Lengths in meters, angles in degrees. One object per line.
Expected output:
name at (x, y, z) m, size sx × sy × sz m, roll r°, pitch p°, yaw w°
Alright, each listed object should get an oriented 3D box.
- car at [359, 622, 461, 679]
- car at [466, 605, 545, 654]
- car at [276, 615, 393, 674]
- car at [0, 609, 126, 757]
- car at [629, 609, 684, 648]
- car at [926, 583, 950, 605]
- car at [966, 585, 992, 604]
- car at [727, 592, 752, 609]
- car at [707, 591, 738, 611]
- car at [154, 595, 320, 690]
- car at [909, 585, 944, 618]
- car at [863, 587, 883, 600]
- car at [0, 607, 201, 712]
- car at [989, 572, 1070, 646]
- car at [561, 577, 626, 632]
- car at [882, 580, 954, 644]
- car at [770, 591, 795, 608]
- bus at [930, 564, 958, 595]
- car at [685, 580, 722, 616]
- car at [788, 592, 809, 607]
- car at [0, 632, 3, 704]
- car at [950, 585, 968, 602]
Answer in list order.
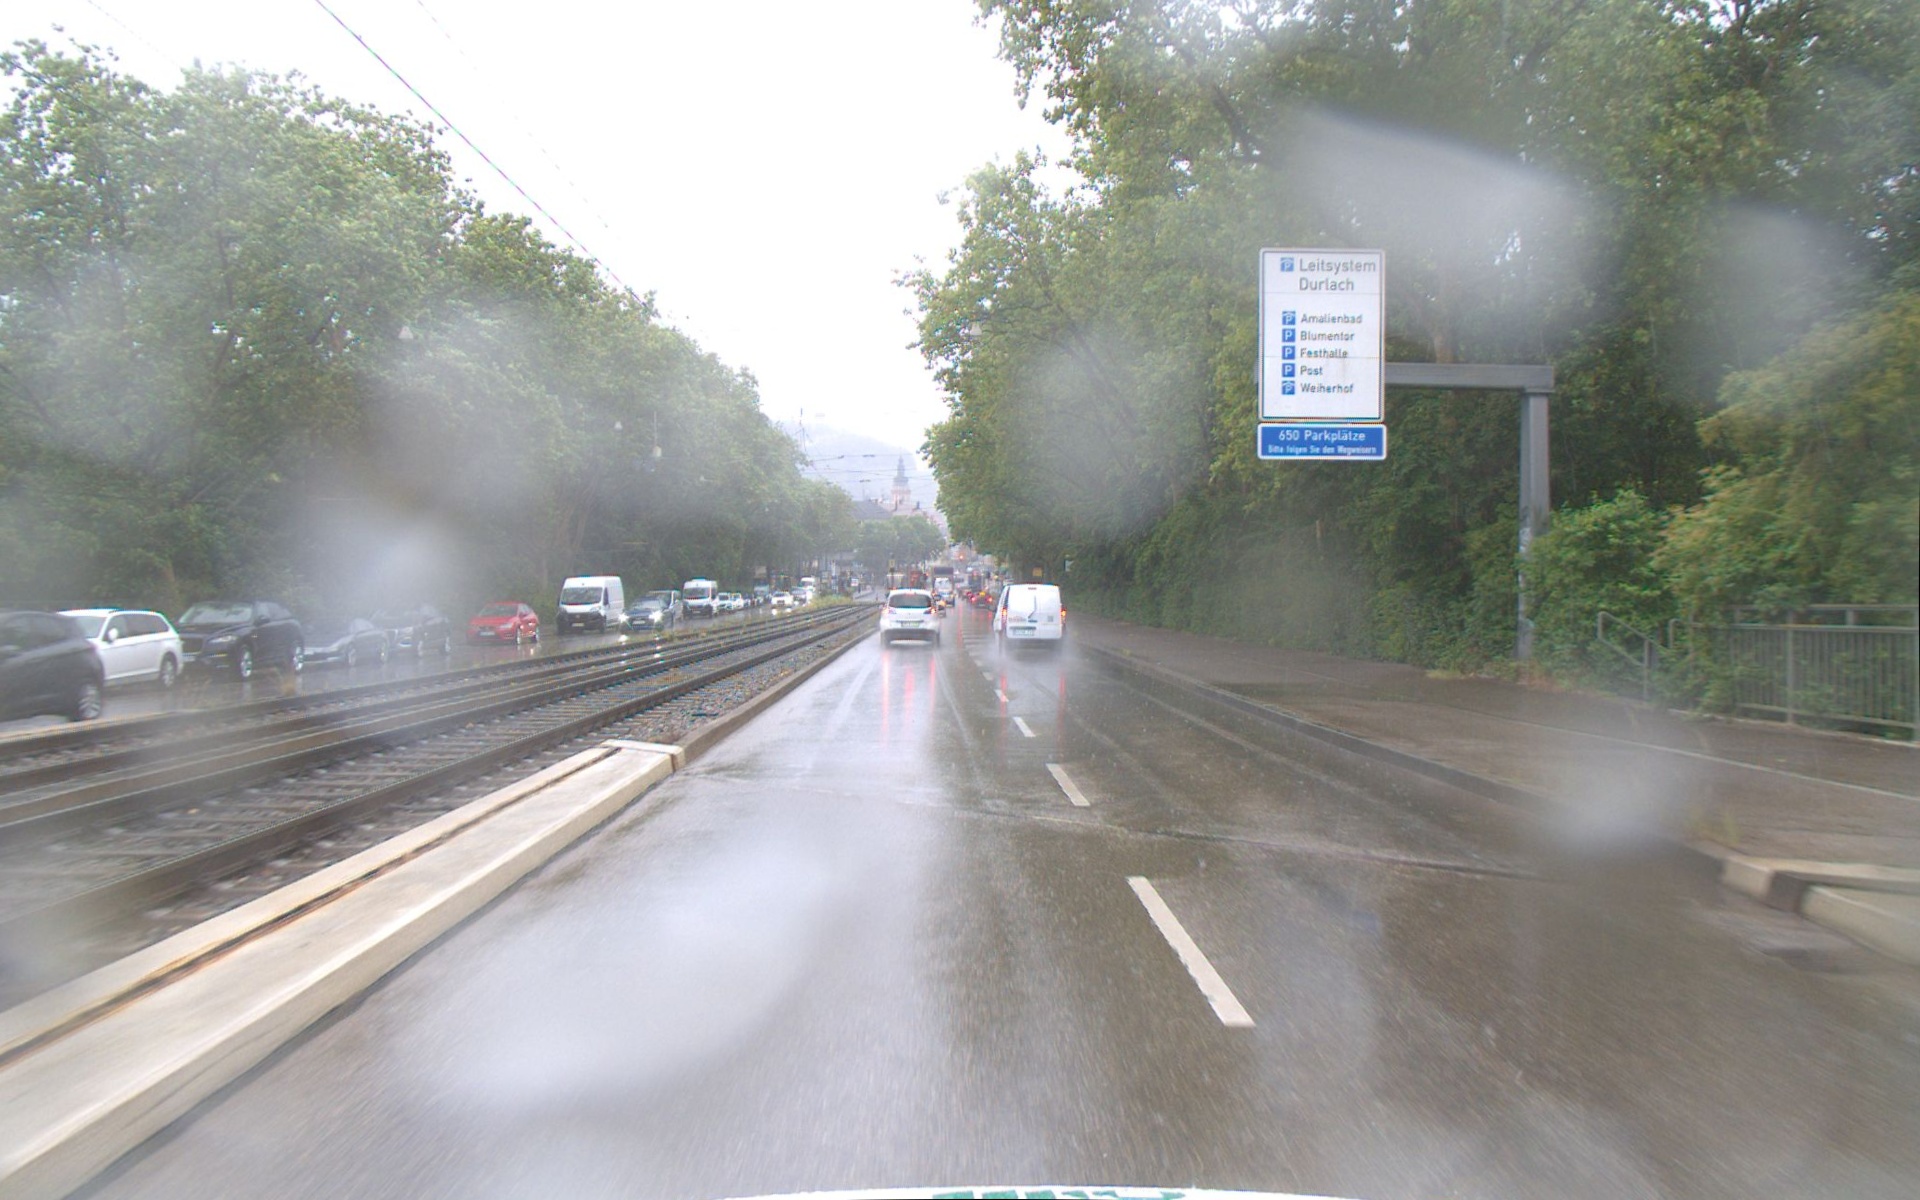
car at (-15.413, 1.391, 46.524) m, size 1.475 × 1.315 × 4.095 m, roll -2°, pitch 1°, yaw 0°
car at (-15.757, 1.001, 57.575) m, size 1.577 × 1.467 × 4.261 m, roll -2°, pitch 1°, yaw -1°
car at (-15.297, 1.057, 40.653) m, size 1.475 × 1.193 × 3.712 m, roll -2°, pitch 1°, yaw -1°
car at (-11.558, 0.979, 19.030) m, size 1.779 × 1.391 × 4.266 m, roll 1°, pitch 4°, yaw -1°
car at (-13.078, 1.198, 71.441) m, size 1.475 × 1.425 × 4.707 m, roll -2°, pitch 1°, yaw 0°
car at (-1.971, -0.560, 148.587) m, size 1.952 × 1.858 × 4.001 m, roll 1°, pitch 1°, yaw 1°
car at (1.488, -0.449, 128.869) m, size 1.952 × 1.344 × 4.001 m, roll 1°, pitch 1°, yaw 1°
car at (-19.776, 0.027, 148.463) m, size 1.768 × 1.373 × 4.263 m, roll -2°, pitch 1°, yaw -1°
car at (-17.986, 0.039, 125.571) m, size 1.768 × 1.373 × 4.263 m, roll -2°, pitch 1°, yaw -1°
car at (-15.057, 0.816, 34.726) m, size 1.476 × 1.701 × 4.832 m, roll -2°, pitch 1°, yaw -2°
car at (-2.047, 0.074, 102.484) m, size 1.952 × 1.858 × 4.001 m, roll 1°, pitch 1°, yaw 1°
car at (-10.033, -0.750, 190.471) m, size 1.767 × 1.373 × 4.266 m, roll -2°, pitch 1°, yaw 4°
car at (-15.023, 0.969, 28.703) m, size 1.476 × 1.424 × 4.892 m, roll -6°, pitch 2°, yaw -2°
car at (1.750, 0.191, 42.737) m, size 1.952 × 1.756 × 4.001 m, roll 1°, pitch 1°, yaw 1°
car at (-16.165, 0.152, 73.158) m, size 1.706 × 2.207 × 5.812 m, roll -2°, pitch 1°, yaw -2°
car at (-1.208, 0.324, 49.606) m, size 1.952 × 1.746 × 4.001 m, roll 1°, pitch 1°, yaw 1°
car at (-15.706, -0.077, 146.631) m, size 1.768 × 1.373 × 4.263 m, roll -2°, pitch 1°, yaw -1°
bus at (-2.072, -2.684, 217.217) m, size 3.320 × 3.903 × 9.740 m, roll 1°, pitch 1°, yaw 1°
car at (-16.959, -0.160, 109.580) m, size 1.764 × 2.260 × 4.276 m, roll -2°, pitch 1°, yaw -1°
car at (-16.895, -0.051, 172.987) m, size 1.768 × 1.373 × 4.263 m, roll -2°, pitch 1°, yaw -1°
car at (-14.946, 0.918, 22.597) m, size 1.477 × 1.425 × 4.403 m, roll -2°, pitch 1°, yaw -5°
car at (-0.072, -0.815, 192.909) m, size 1.952 × 1.858 × 4.001 m, roll 1°, pitch 1°, yaw 1°
